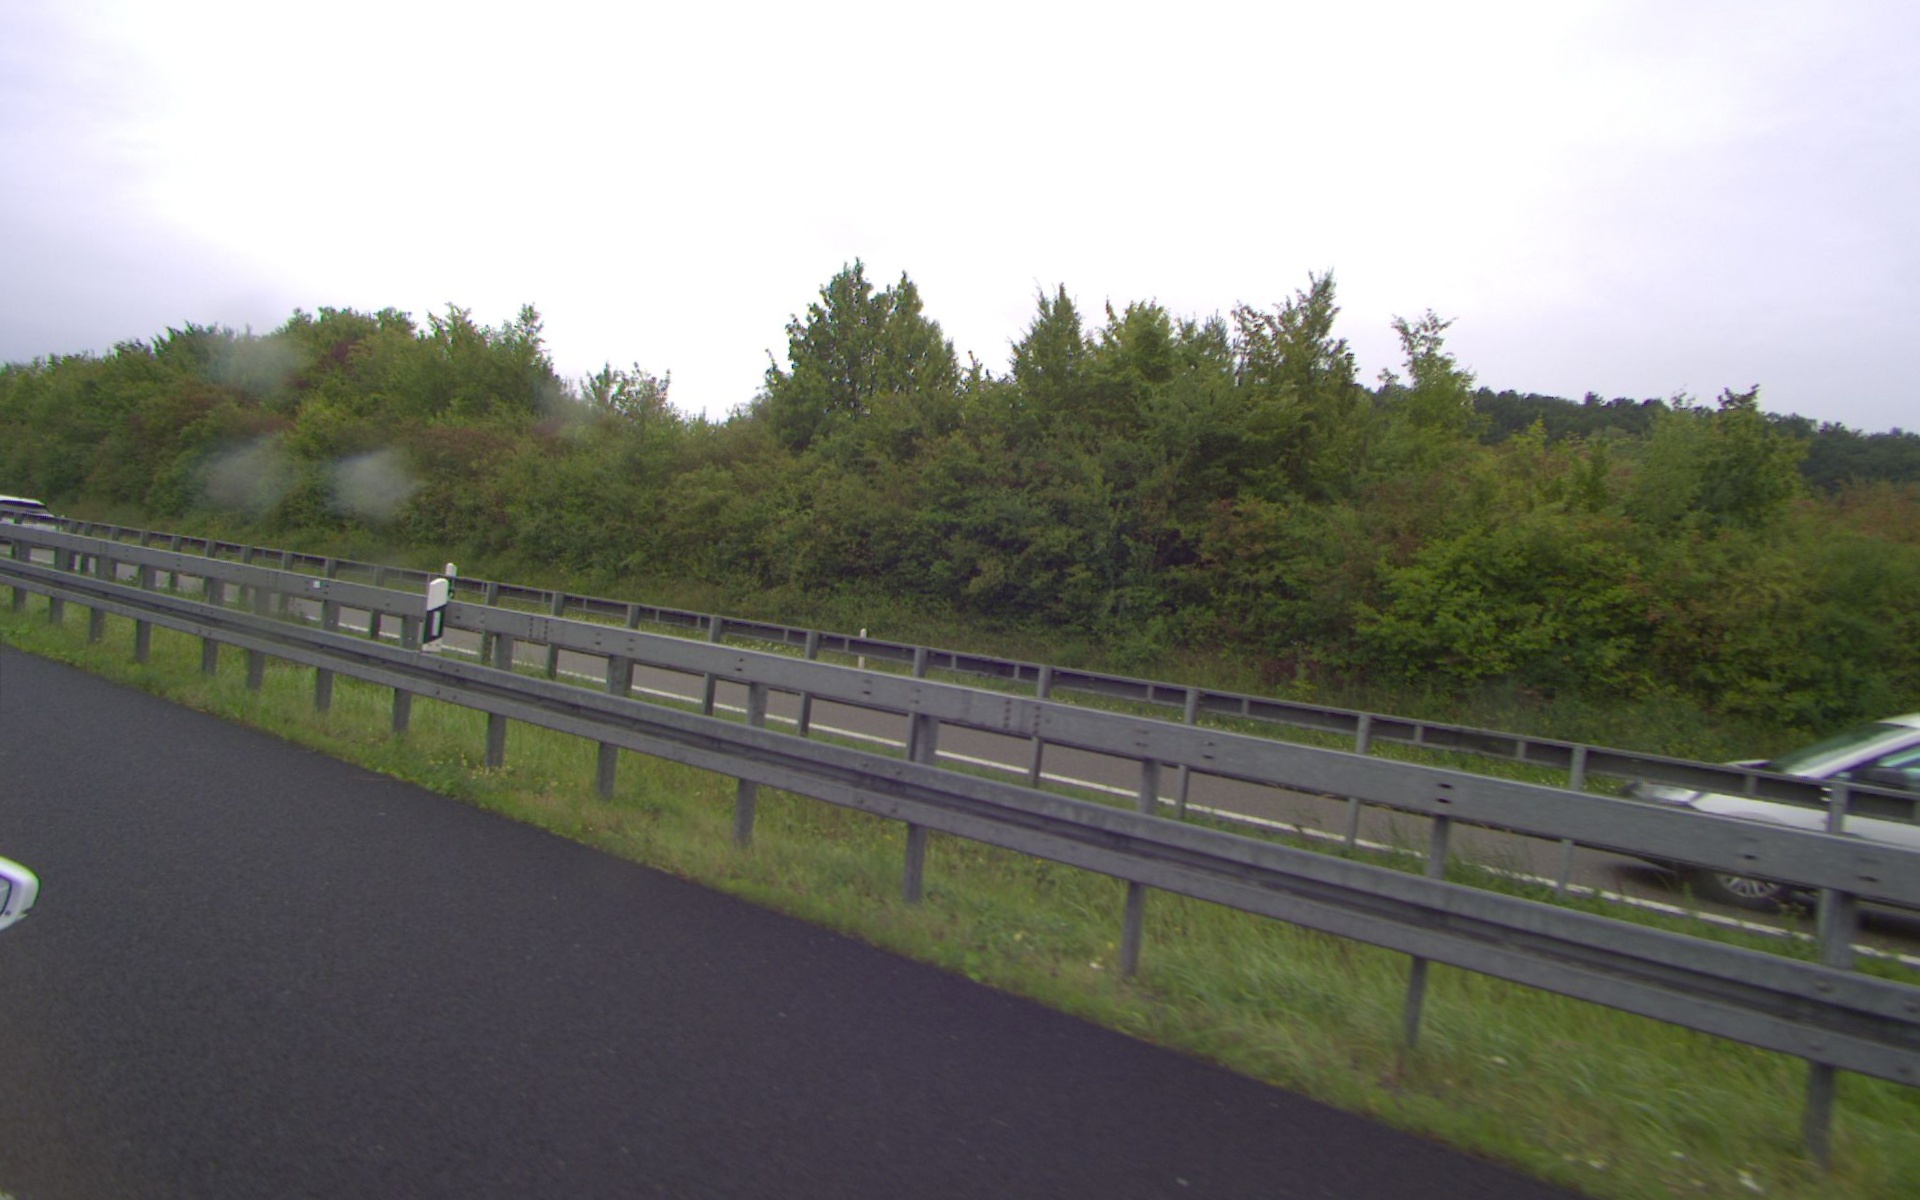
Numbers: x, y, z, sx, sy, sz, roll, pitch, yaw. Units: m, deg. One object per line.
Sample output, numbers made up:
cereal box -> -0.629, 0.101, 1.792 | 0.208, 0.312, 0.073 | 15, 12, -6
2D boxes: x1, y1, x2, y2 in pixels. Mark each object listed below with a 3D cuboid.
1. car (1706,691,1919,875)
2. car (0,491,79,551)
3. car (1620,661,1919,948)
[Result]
car -> 10.628, 2.074, 10.608 | 4.075, 1.632, 1.900 | 7, -1, 30
car -> -30.525, -2.647, 32.173 | 4.615, 1.566, 2.012 | 7, -1, 29
car -> 7.811, 1.690, 7.785 | 4.203, 1.836, 2.012 | 7, -1, 30
